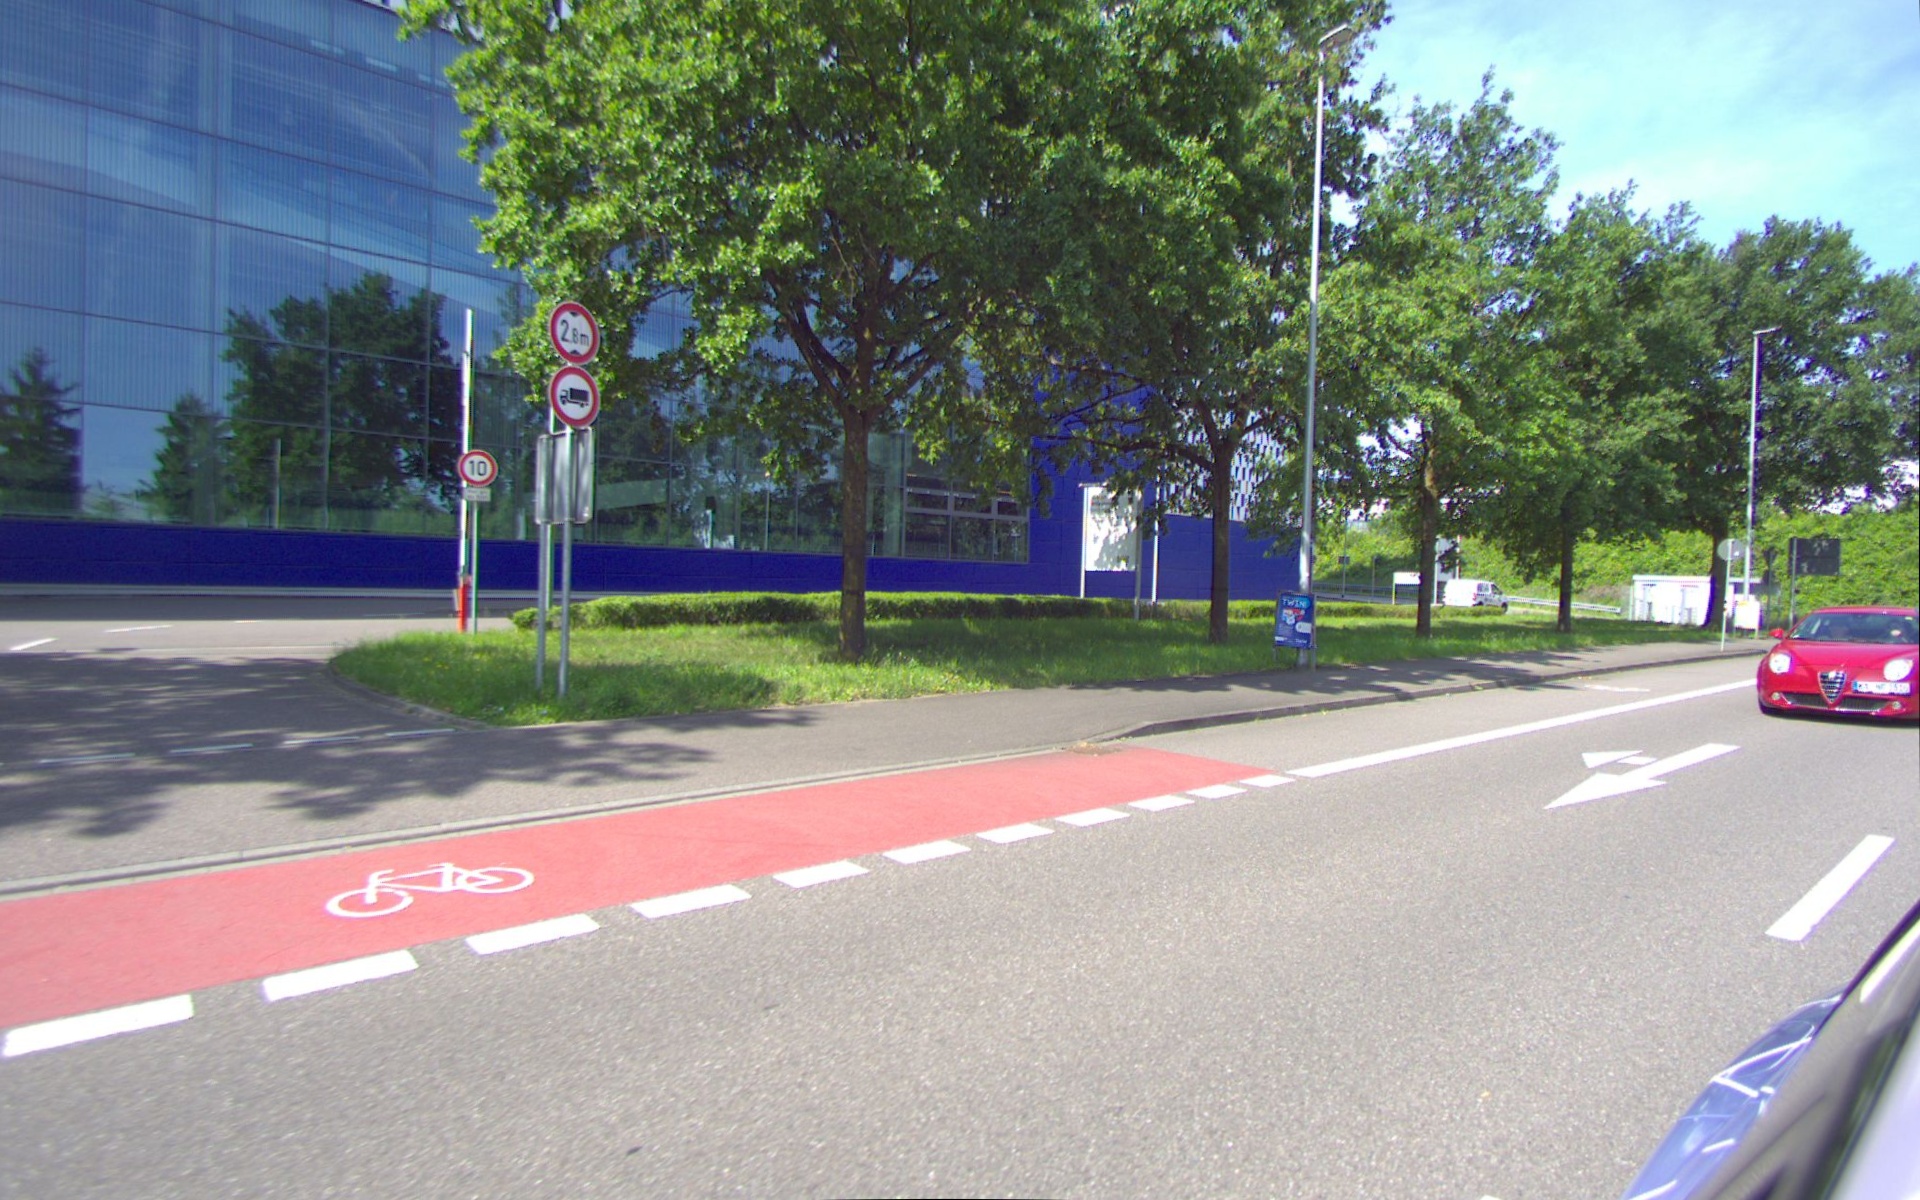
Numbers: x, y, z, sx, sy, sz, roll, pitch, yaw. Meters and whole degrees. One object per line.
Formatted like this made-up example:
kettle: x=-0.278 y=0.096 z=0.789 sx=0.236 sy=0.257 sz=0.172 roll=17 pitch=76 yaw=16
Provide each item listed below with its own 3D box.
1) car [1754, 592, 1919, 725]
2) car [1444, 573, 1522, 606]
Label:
car: x=12.018 y=0.652 z=13.222 sx=3.908 sy=1.472 sz=1.797 roll=0 pitch=1 yaw=-40
car: x=27.423 y=-0.519 z=53.026 sx=4.222 sy=1.660 sz=1.857 roll=0 pitch=0 yaw=-35
